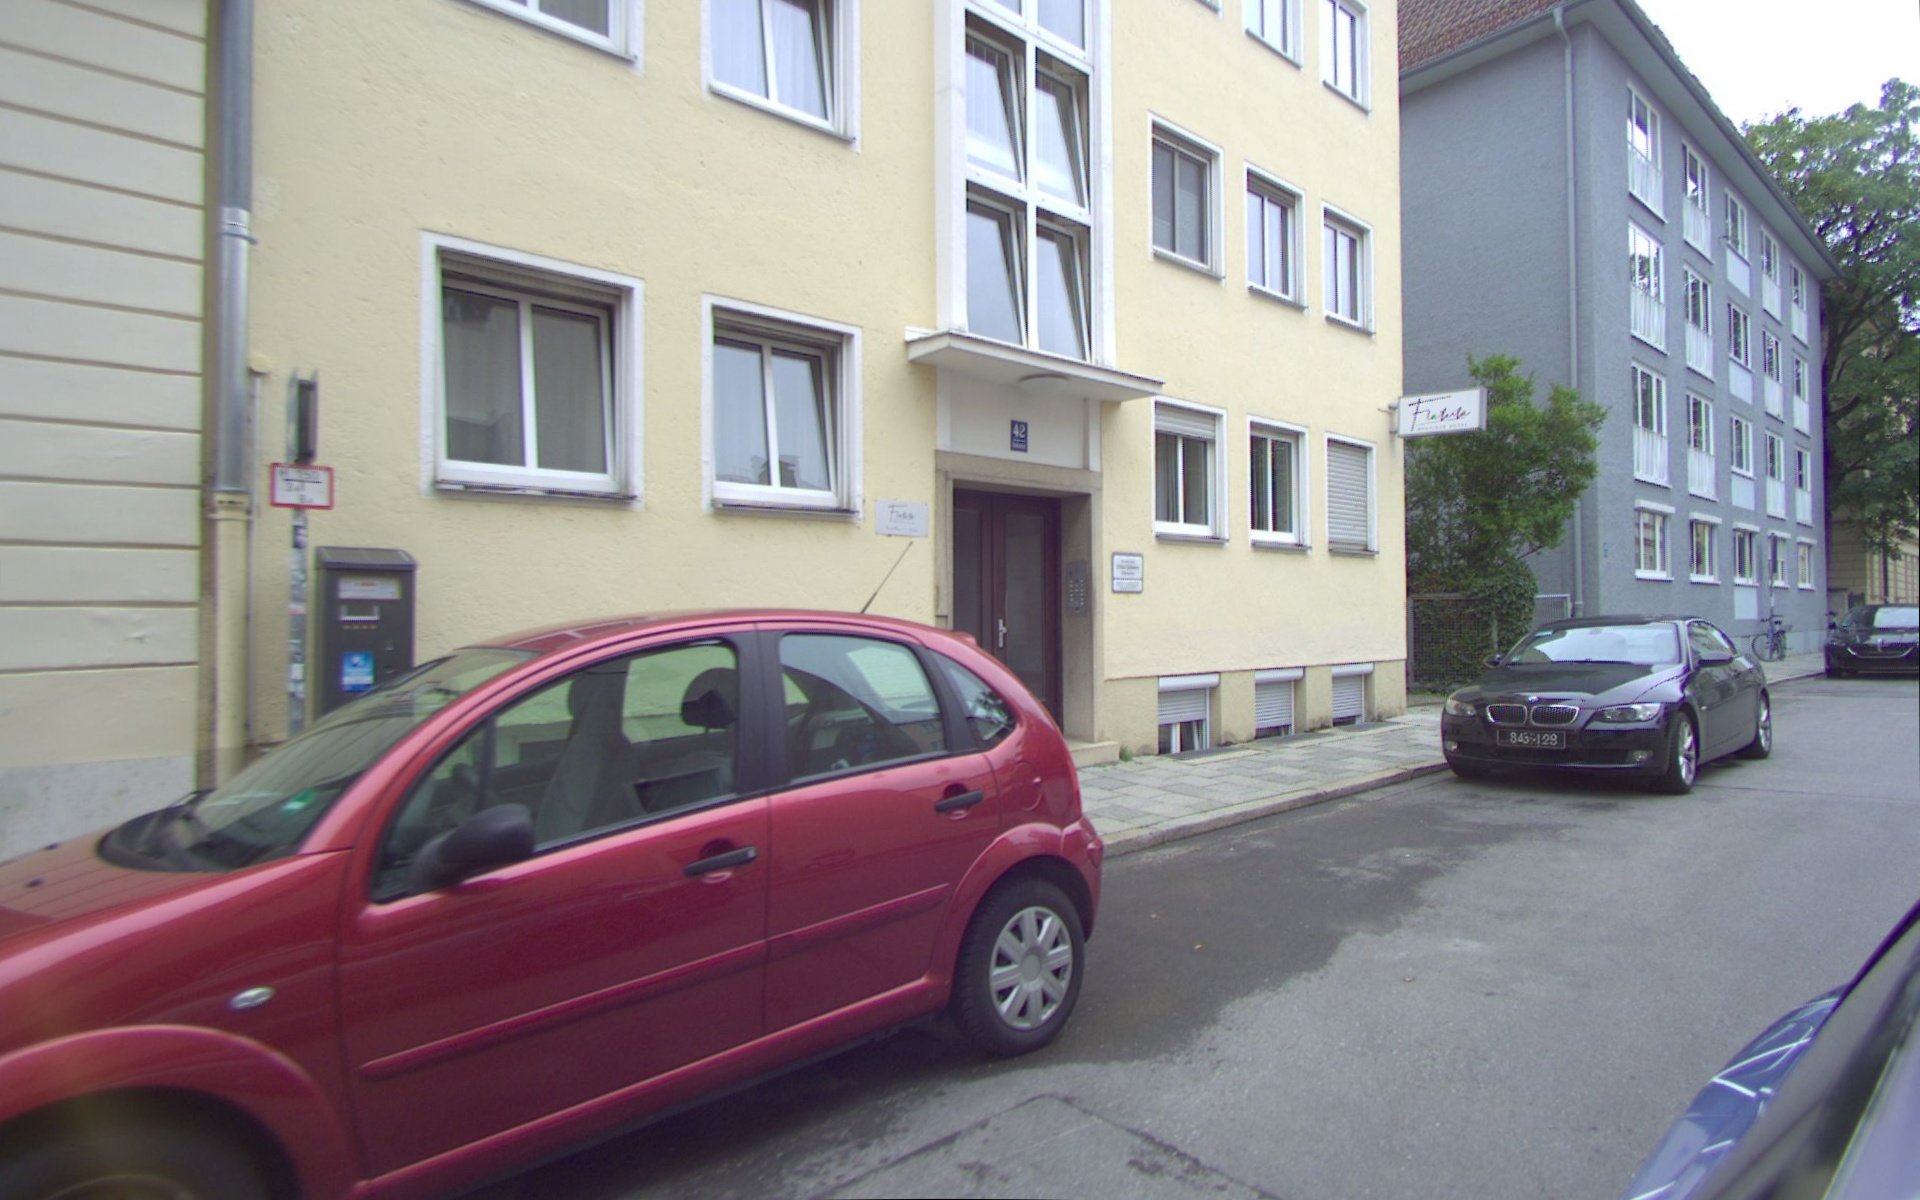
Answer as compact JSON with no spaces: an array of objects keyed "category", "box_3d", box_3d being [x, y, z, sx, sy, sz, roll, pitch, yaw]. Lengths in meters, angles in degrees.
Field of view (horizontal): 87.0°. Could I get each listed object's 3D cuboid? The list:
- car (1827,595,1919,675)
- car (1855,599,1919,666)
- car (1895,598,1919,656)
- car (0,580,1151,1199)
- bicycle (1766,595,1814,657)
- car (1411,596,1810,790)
[{"category":"car","box_3d":[19.048,0.666,20.378,4.191,1.447,1.842,0,-5,-43]},{"category":"car","box_3d":[22.559,0.698,23.574,4.405,1.420,1.792,0,-5,-40]},{"category":"car","box_3d":[26.372,0.639,26.766,4.267,1.465,1.771,0,-5,-40]},{"category":"car","box_3d":[-1.280,0.735,3.127,3.786,1.511,1.678,0,-1,-41]},{"category":"bicycle","box_3d":[21.031,0.635,25.626,2.239,1.505,0.515,0,-1,-40]},{"category":"car","box_3d":[6.088,0.717,9.248,4.430,1.352,1.827,0,-5,-41]}]
